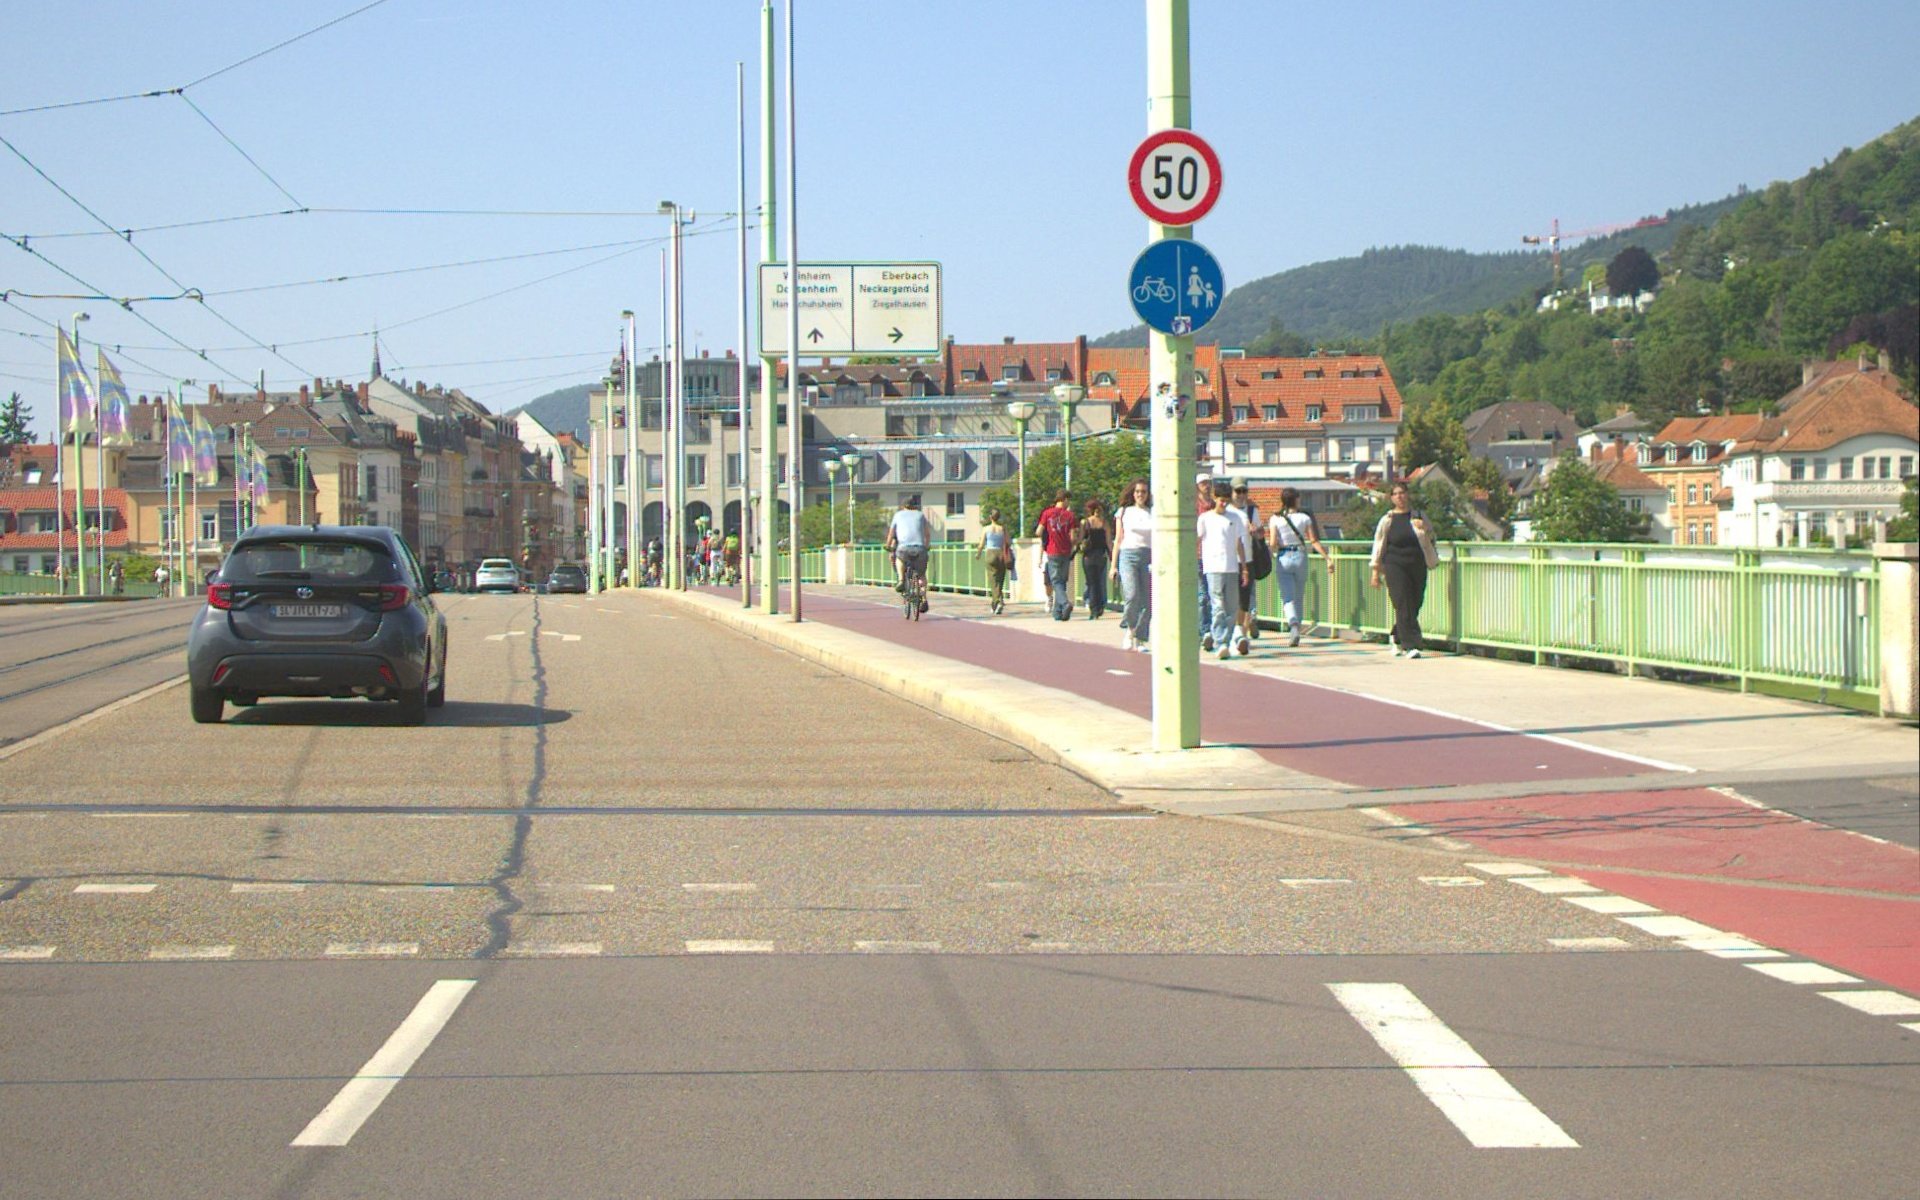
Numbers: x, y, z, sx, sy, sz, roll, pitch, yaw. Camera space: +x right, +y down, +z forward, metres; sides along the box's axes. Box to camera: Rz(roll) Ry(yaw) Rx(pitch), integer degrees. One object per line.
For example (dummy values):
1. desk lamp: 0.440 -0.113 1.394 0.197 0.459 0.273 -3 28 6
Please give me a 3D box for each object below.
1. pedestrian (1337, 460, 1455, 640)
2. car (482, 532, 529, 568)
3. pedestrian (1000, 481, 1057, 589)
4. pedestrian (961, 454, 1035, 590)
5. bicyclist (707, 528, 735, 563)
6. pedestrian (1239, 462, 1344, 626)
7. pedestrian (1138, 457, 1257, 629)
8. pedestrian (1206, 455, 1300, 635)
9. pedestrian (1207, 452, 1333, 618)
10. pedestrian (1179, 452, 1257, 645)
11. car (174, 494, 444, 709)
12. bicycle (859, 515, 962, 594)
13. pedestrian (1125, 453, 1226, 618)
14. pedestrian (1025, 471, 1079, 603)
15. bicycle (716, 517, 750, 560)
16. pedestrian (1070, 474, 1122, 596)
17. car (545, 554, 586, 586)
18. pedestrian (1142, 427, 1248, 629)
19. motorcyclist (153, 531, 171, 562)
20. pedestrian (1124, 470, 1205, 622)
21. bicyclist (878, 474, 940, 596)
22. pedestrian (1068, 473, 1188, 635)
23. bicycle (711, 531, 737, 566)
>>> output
1. pedestrian: 4.029 -0.467 31.812 0.799 1.629 0.950 -1 1 -13
2. car: -19.515 -2.126 147.458 1.803 1.464 4.001 -2 1 -10
3. pedestrian: 1.010 -0.959 50.723 0.649 1.557 0.692 -2 2 -13
4. pedestrian: 0.568 -1.171 51.714 0.873 2.007 1.059 -1 1 -13
5. bicyclist: -7.229 -1.645 104.013 0.735 1.027 1.176 -1 1 -9
6. pedestrian: 3.427 -0.580 35.609 0.833 1.671 0.886 -1 1 -13
7. pedestrian: 2.457 -0.589 35.610 0.984 1.744 0.930 -1 1 -13
8. pedestrian: 2.815 -0.531 33.102 0.695 1.710 0.732 -1 1 -13
9. pedestrian: 3.382 -0.719 37.597 0.984 1.763 1.255 -2 2 -13
10. pedestrian: 2.434 -0.486 32.467 0.549 1.793 0.646 -1 1 -13
11. car: -5.010 -0.040 26.705 1.909 1.535 4.001 0 1 -10
12. bicycle: -0.746 -0.668 49.725 0.792 1.092 3.746 -1 1 -11
13. pedestrian: 2.573 -0.772 41.172 1.015 1.947 0.939 -1 1 -9
14. pedestrian: 1.253 -0.862 46.919 0.585 1.787 0.632 -1 1 -12
15. bicycle: -6.426 -1.736 97.180 0.695 1.189 2.080 -1 0 -11
16. pedestrian: 1.860 -0.888 46.984 0.522 1.643 0.700 -1 1 -13
17. car: -18.902 -1.456 164.907 1.803 1.464 4.001 -2 1 -5
18. pedestrian: 2.360 -0.724 34.603 0.803 2.007 0.954 -1 1 -13
19. motorcyclist: -40.324 -2.708 173.697 0.800 1.544 1.069 -1 1 -8
20. pedestrian: 2.237 -0.588 37.662 0.654 1.644 0.868 -1 1 -13
21. bicyclist: -0.738 -0.940 49.670 0.673 1.738 1.151 -1 1 -11
22. pedestrian: 1.692 -0.471 34.781 0.984 1.610 0.922 -1 1 -13
23. bicycle: -7.152 -1.559 104.072 0.618 1.034 2.052 -1 1 -9
